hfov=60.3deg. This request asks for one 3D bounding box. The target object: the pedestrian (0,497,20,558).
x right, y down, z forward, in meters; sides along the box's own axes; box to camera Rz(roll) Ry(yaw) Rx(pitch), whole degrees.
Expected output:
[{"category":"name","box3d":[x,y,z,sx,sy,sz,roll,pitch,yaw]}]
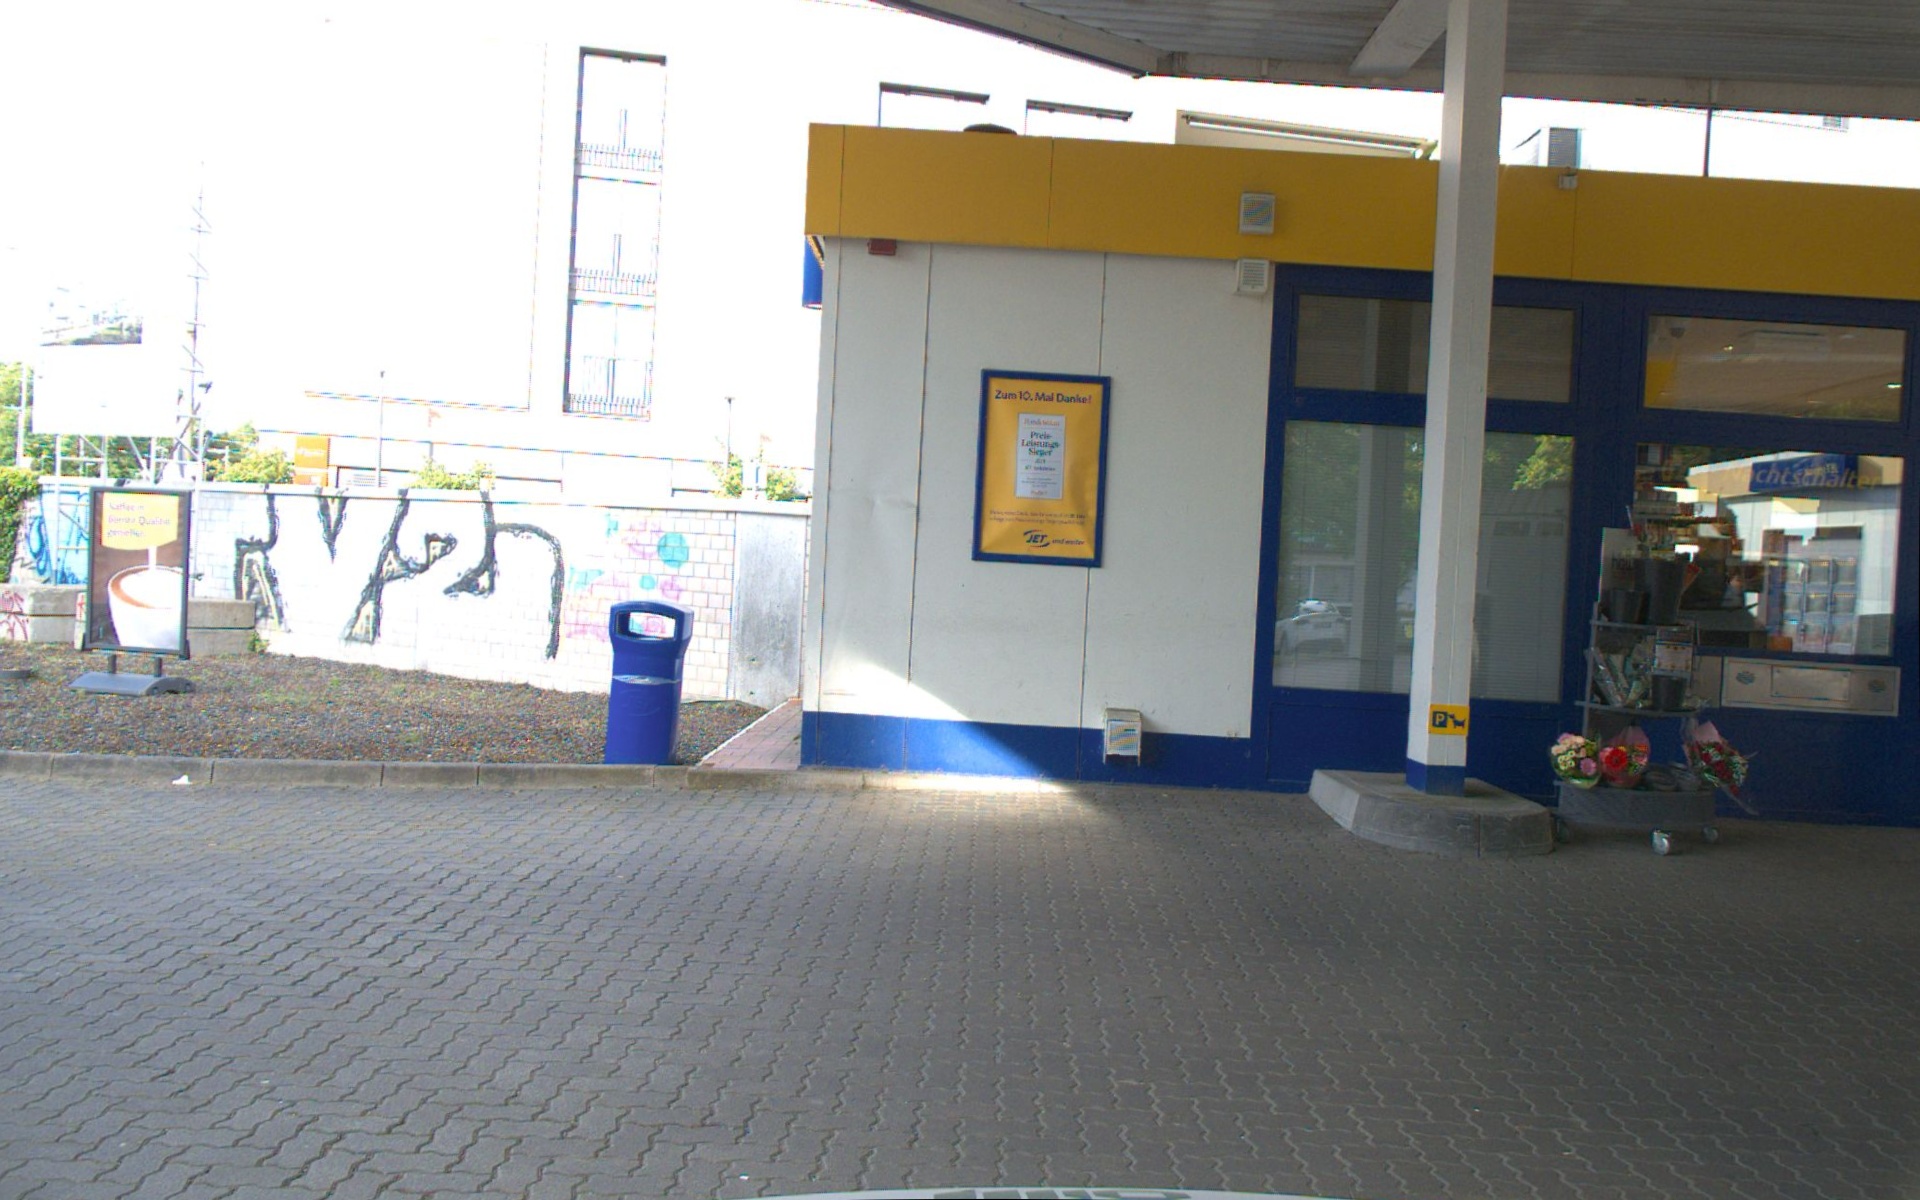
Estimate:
[{"category":"pedestrian","box3d":[-32.565,-2.457,56.263,0.793,2.049,0.847,1,-1,-17]}]
